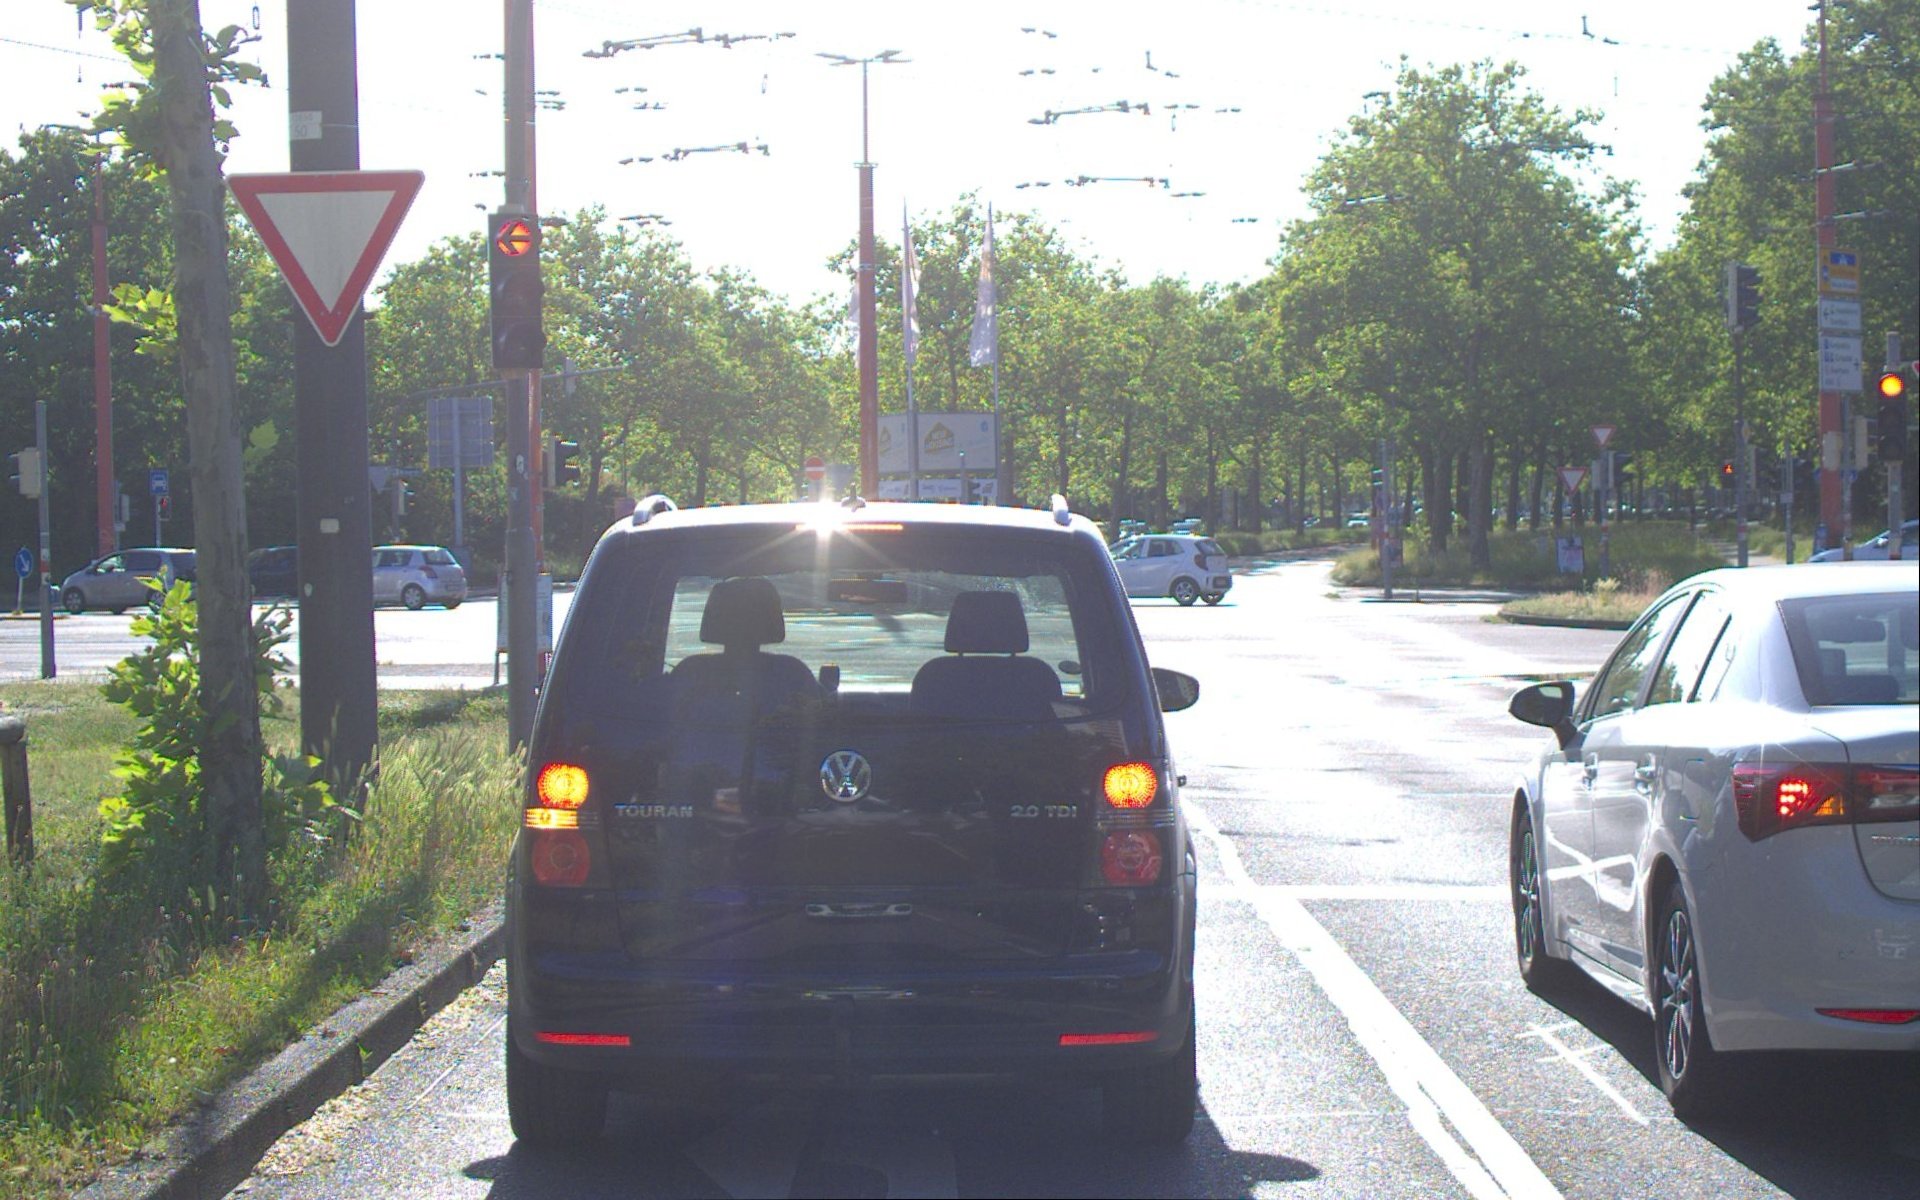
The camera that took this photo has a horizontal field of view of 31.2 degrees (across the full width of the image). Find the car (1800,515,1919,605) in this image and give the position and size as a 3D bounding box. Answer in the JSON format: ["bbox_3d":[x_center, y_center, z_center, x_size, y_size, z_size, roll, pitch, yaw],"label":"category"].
[{"bbox_3d":[18.105,-0.754,64.734,4.234,1.675,1.701,0,1,23],"label":"car"}]

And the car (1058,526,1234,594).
[{"bbox_3d":[3.888,-0.843,72.069,3.441,1.364,1.288,1,1,26],"label":"car"}]

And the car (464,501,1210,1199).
[{"bbox_3d":[-0.310,0.552,9.839,1.700,1.616,3.897,0,1,-1],"label":"car"}]

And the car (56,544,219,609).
[{"bbox_3d":[-18.647,-0.541,77.947,3.398,1.452,1.463,0,1,23],"label":"car"}]

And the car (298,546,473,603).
[{"bbox_3d":[-13.517,-0.612,80.906,3.834,1.260,1.601,1,1,26],"label":"car"}]

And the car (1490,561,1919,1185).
[{"bbox_3d":[2.718,0.620,10.118,1.720,1.433,4.198,1,1,1],"label":"car"}]

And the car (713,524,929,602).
[{"bbox_3d":[-2.887,-0.776,71.500,4.028,1.590,1.998,0,1,23],"label":"car"}]
